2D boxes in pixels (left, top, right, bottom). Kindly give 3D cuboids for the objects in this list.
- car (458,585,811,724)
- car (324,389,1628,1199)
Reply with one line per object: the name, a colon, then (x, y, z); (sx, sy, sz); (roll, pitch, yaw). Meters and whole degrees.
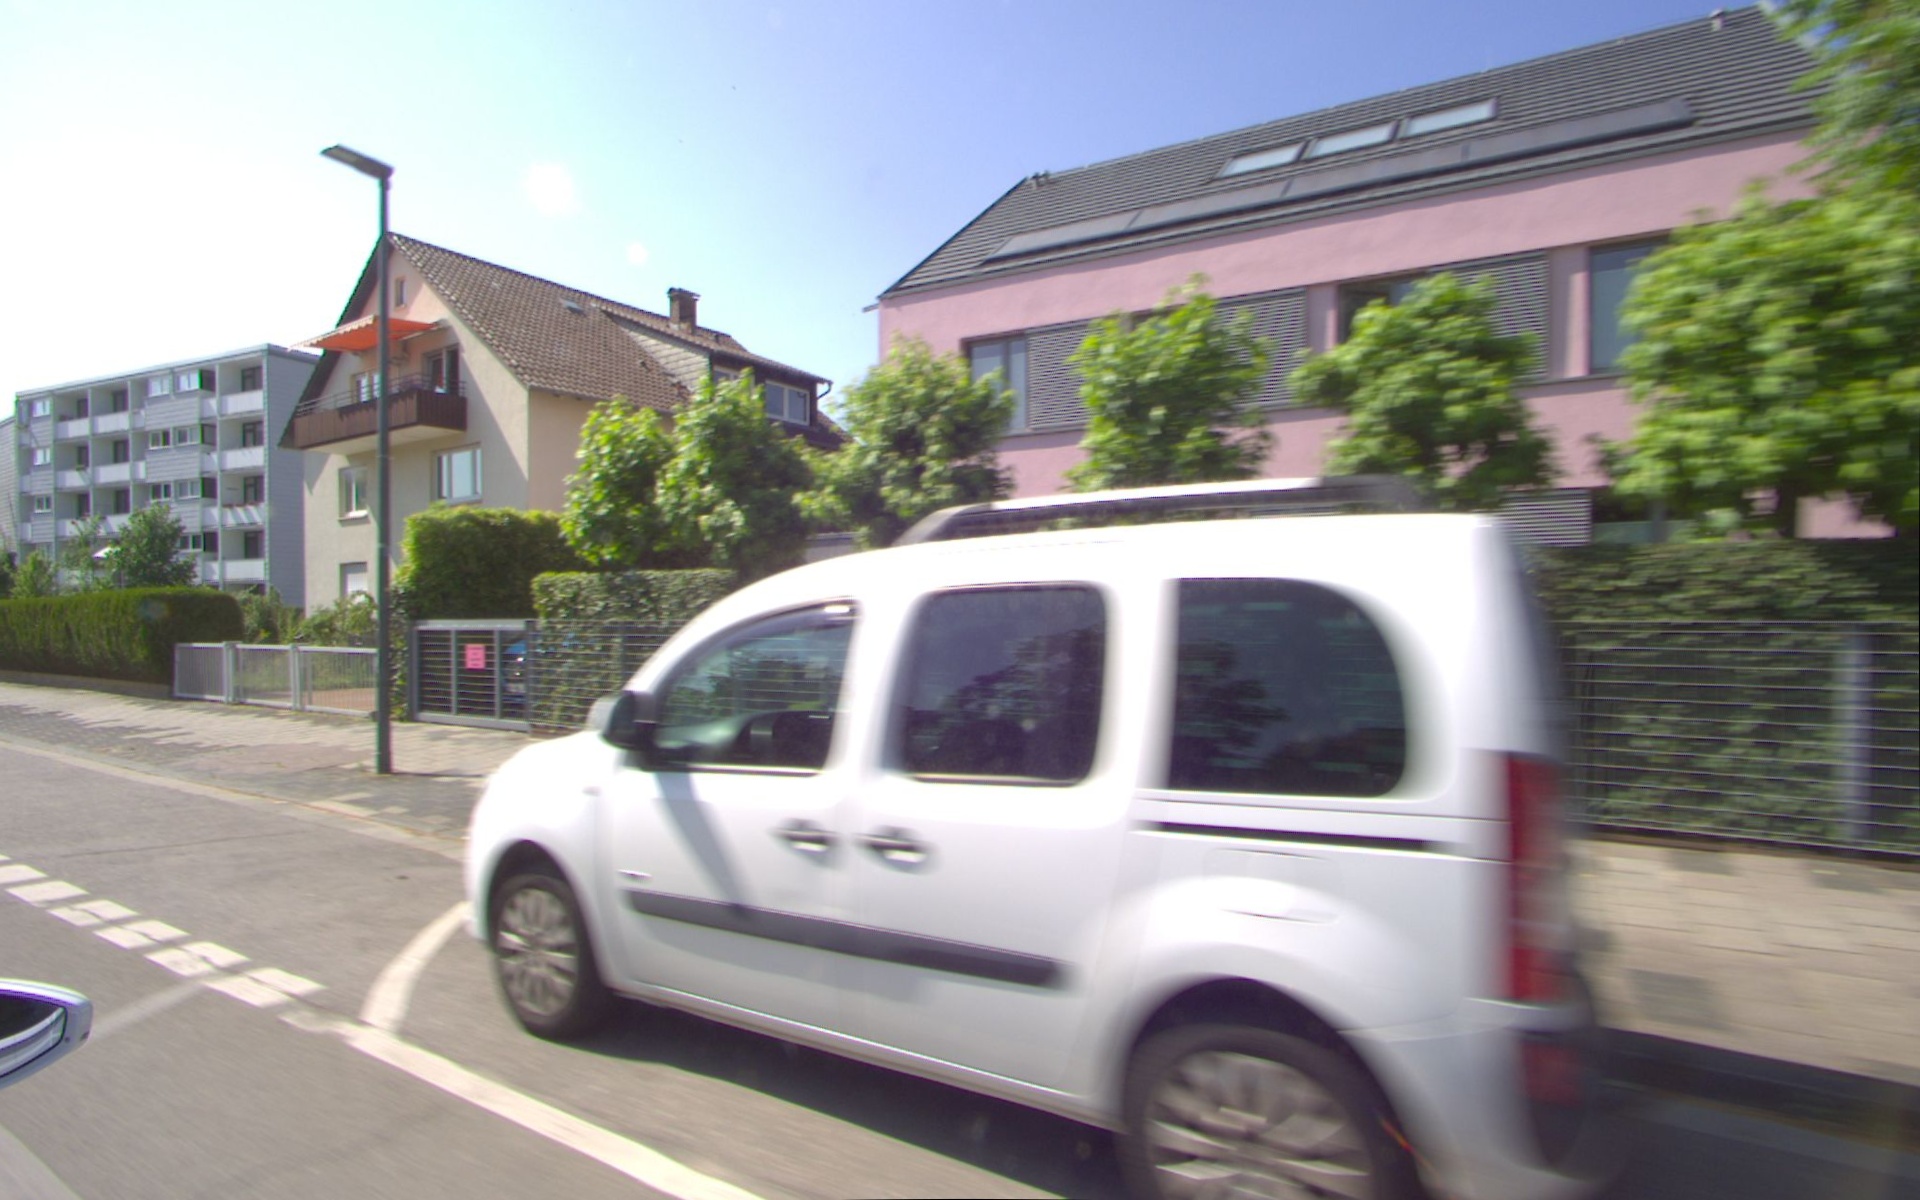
car: (-4.651, 0.735, 15.196); (1.950, 1.728, 5.078); (0, -1, 31)
car: (-0.275, 0.638, 3.741); (4.533, 1.849, 1.760); (-1, -3, 32)
